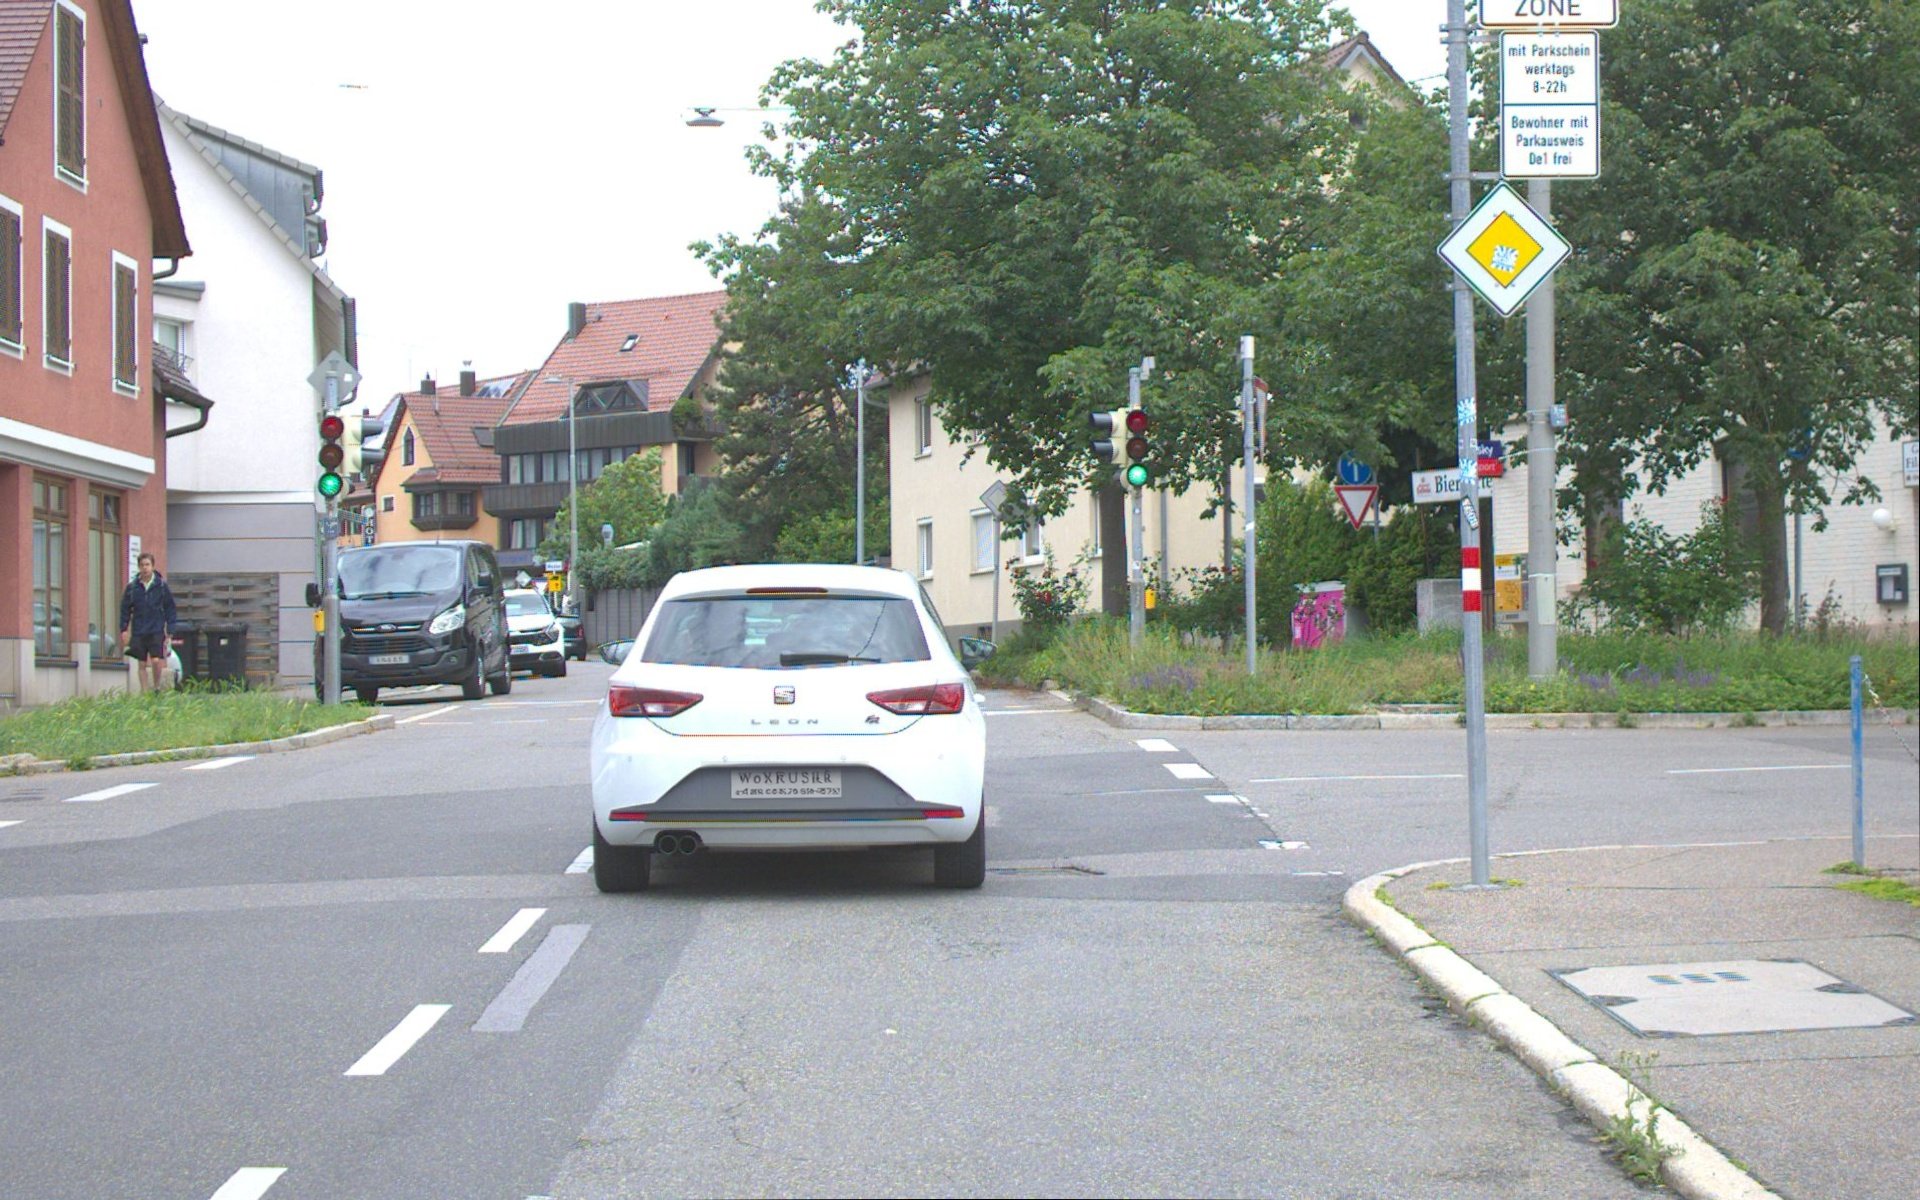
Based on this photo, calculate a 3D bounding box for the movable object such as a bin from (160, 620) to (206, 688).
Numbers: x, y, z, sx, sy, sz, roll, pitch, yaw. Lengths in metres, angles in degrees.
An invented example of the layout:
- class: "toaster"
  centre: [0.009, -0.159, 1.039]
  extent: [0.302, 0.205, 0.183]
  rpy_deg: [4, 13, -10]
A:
- class: "movable object such as a bin"
  centre: [-11.497, 0.794, 50.876]
  extent: [0.533, 0.968, 0.635]
  rpy_deg: [2, 0, -1]

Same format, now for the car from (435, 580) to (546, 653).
- class: "car"
  centre: [-9.575, 0.351, 69.869]
  extent: [1.997, 1.431, 3.919]
  rpy_deg: [0, -1, -11]

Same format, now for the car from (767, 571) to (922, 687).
- class: "car"
  centre: [-1.559, 0.382, 45.006]
  extent: [1.758, 1.447, 4.000]
  rpy_deg: [0, -1, -6]

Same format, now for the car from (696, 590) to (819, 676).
- class: "car"
  centre: [-3.584, 0.584, 60.316]
  extent: [1.758, 1.447, 4.001]
  rpy_deg: [0, -1, -9]

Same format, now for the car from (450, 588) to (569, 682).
- class: "car"
  centre: [-8.167, 0.629, 62.023]
  extent: [1.997, 1.627, 4.858]
  rpy_deg: [0, -1, -9]

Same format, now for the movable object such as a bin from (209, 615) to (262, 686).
- class: "movable object such as a bin"
  centre: [-10.758, 0.748, 51.071]
  extent: [0.665, 1.015, 0.795]
  rpy_deg: [-1, 1, -5]

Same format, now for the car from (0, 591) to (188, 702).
- class: "car"
  centre: [-12.166, 0.634, 46.918]
  extent: [2.830, 1.470, 1.742]
  rpy_deg: [-1, -1, 2]

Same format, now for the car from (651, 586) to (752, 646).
- class: "car"
  centre: [-6.620, 0.420, 87.794]
  extent: [1.758, 1.447, 4.001]
  rpy_deg: [2, -1, -16]

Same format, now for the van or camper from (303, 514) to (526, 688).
- class: "van or camper"
  centre: [-6.697, 0.068, 42.718]
  extent: [2.073, 1.999, 4.857]
  rpy_deg: [1, -2, -2]

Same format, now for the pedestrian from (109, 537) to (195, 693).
- class: "pedestrian"
  centre: [-9.311, 0.171, 39.654]
  extent: [0.800, 1.778, 0.893]
  rpy_deg: [0, 0, -2]

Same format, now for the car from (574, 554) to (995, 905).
- class: "car"
  centre: [-0.722, 0.516, 16.398]
  extent: [1.758, 1.447, 4.000]
  rpy_deg: [0, 1, 0]
